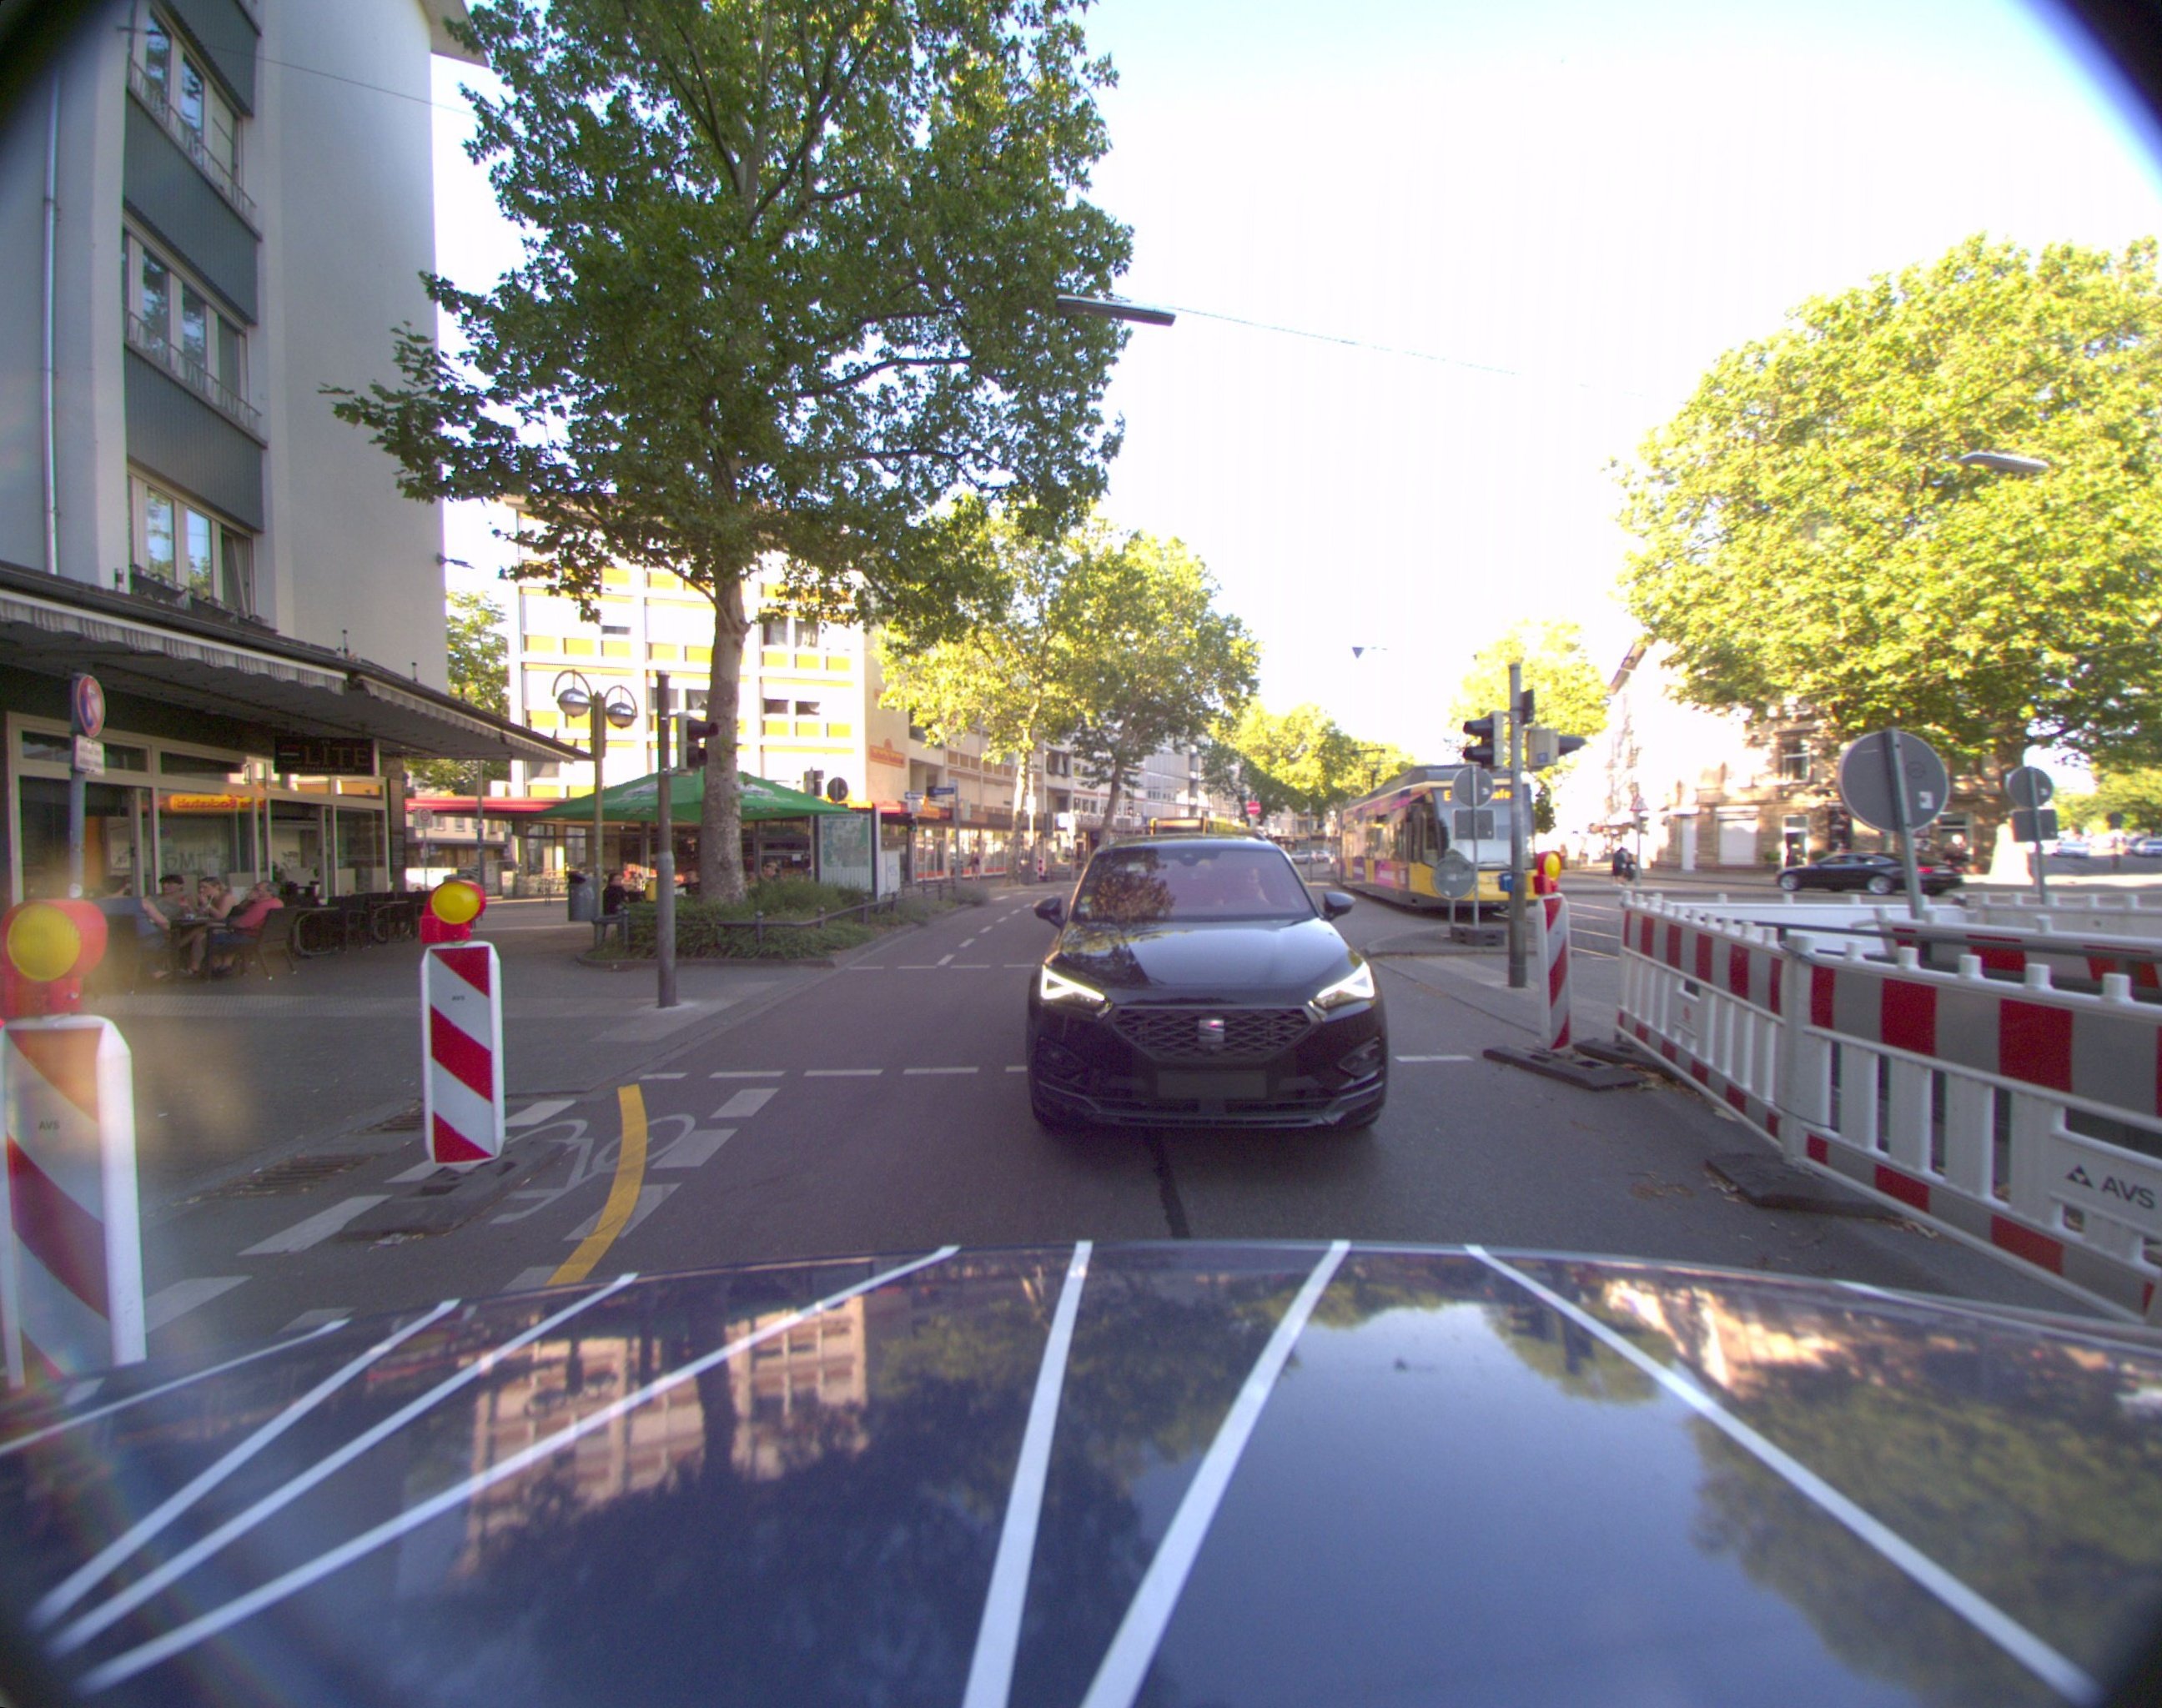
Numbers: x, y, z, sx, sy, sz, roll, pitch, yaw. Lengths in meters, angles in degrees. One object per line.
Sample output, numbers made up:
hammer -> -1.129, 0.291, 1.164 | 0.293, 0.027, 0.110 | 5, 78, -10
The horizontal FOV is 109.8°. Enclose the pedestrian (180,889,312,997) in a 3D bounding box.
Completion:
pedestrian -> -9.849, 1.023, 8.999 | 0.847, 1.191, 0.649 | 1, 0, -22

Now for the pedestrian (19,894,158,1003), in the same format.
pedestrian -> -11.089, 1.029, 8.523 | 0.718, 1.123, 0.649 | 1, 0, -24

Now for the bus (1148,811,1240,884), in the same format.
bus -> 5.762, -0.308, 37.128 | 2.749, 3.085, 9.509 | 0, 1, 19

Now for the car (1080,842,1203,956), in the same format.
car -> 1.087, 0.643, 13.196 | 1.743, 1.630, 4.300 | -2, 0, 6

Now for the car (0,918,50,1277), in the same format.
car -> -5.171, 0.997, 1.424 | 1.623, 1.457, 3.604 | 2, 0, -2

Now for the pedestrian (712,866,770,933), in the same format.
pedestrian -> -6.811, 0.896, 15.260 | 0.718, 1.278, 0.769 | 0, 1, 14

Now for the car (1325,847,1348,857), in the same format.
car -> 32.910, -0.259, 97.836 | 2.627, 1.274, 1.201 | -1, 2, 3

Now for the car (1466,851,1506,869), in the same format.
car -> 33.819, 0.522, 63.597 | 1.996, 1.440, 4.543 | 0, 0, 15

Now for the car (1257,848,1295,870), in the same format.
car -> 14.335, 0.345, 55.704 | 1.908, 1.467, 4.425 | 0, 1, 26

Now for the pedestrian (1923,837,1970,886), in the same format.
pedestrian -> 31.452, 0.267, 27.629 | 0.797, 1.746, 0.802 | -1, 1, 0

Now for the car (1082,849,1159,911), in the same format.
car -> 1.200, 0.632, 20.904 | 1.743, 1.492, 4.301 | -2, 0, 7

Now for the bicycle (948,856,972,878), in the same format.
bicycle -> -6.669, 0.711, 42.032 | 0.528, 1.136, 1.976 | 0, 1, 15

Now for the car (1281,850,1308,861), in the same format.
car -> 23.925, 0.188, 85.021 | 2.629, 1.209, 1.200 | -1, 2, -6

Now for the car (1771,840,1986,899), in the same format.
car -> 25.409, 0.435, 24.511 | 1.900, 1.657, 4.584 | -2, 1, -6

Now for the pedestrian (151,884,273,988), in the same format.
pedestrian -> -10.695, 0.989, 9.379 | 0.666, 1.211, 0.717 | 0, 0, -5

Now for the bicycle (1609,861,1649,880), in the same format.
bicycle -> 26.065, 0.759, 36.166 | 0.561, 0.857, 1.800 | -1, 1, -2

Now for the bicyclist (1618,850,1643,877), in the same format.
bicyclist -> 26.066, 0.433, 36.058 | 0.561, 1.287, 0.805 | -1, 1, -2

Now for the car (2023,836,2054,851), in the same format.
car -> 93.713, -1.039, 74.357 | 4.007, 1.485, 1.723 | -1, 1, -36

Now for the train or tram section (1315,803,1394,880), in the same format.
train or tram section -> 14.100, -0.629, 39.912 | 2.875, 3.467, 10.349 | -1, 1, 14

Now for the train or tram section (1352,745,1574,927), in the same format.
train or tram section -> 9.222, -0.388, 19.887 | 2.820, 3.467, 10.348 | -1, 1, 13

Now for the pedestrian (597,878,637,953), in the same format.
pedestrian -> -7.783, 1.017, 12.748 | 0.469, 1.212, 0.431 | -2, 1, -44

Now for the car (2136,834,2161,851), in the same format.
car -> 98.415, -1.061, 69.802 | 4.007, 1.485, 1.723 | -1, 1, -36

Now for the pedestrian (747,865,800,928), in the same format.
pedestrian -> -6.543, 0.893, 16.184 | 0.718, 1.278, 0.769 | -1, 1, 13

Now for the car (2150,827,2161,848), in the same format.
car -> 111.387, -1.738, 77.974 | 4.007, 2.131, 1.846 | -1, 1, -36

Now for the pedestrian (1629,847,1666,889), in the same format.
pedestrian -> 20.803, 0.497, 27.898 | 0.798, 1.500, 0.800 | -1, 1, -23

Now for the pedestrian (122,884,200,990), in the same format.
pedestrian -> -11.245, 0.989, 9.292 | 0.519, 1.236, 0.553 | 0, 0, 34

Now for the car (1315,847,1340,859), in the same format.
car -> 29.794, -0.114, 91.851 | 2.627, 1.464, 1.201 | -1, 2, 3

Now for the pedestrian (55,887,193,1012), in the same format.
pedestrian -> -10.222, 0.987, 8.148 | 0.651, 1.244, 0.716 | 1, 0, -24

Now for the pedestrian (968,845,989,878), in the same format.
pedestrian -> -5.340, 0.384, 39.637 | 0.748, 1.747, 0.903 | 0, 1, 17

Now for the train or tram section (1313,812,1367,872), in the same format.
train or tram section -> 16.768, -0.755, 49.724 | 2.839, 3.467, 10.350 | -1, 1, 16

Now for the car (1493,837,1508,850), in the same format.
car -> 73.263, -1.813, 132.670 | 2.162, 2.110, 4.987 | 1, 1, 29

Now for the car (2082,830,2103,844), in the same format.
car -> 155.359, -2.635, 116.648 | 4.007, 2.004, 1.846 | -1, 1, -36

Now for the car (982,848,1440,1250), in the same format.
car -> 0.682, 0.813, 5.310 | 1.848, 1.648, 4.300 | -2, 0, 4

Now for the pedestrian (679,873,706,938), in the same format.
pedestrian -> -7.413, 0.967, 14.483 | 0.433, 1.212, 0.467 | 1, 1, -29

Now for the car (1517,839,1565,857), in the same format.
car -> 52.553, -0.702, 86.778 | 4.651, 1.965, 1.901 | -1, 1, -11

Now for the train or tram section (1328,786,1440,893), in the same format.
train or tram section -> 11.540, -0.517, 29.946 | 2.839, 3.467, 10.349 | -1, 1, 15

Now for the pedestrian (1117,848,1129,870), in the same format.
pedestrian -> 3.289, 0.377, 59.163 | 0.748, 1.747, 0.903 | 0, 1, 17

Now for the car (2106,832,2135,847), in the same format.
car -> 108.649, -1.494, 79.393 | 4.007, 1.485, 1.723 | -1, 1, -36

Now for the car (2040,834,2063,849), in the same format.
car -> 134.539, -1.778, 105.323 | 4.007, 2.004, 1.846 | -1, 1, -36

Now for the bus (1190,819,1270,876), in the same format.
bus -> 9.239, -0.423, 46.002 | 2.748, 3.085, 9.512 | 0, 1, 23

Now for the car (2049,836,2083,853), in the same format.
car -> 91.016, -0.897, 70.196 | 4.007, 1.485, 1.723 | -1, 1, -36

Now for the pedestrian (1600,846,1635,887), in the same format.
pedestrian -> 20.143, 0.468, 28.509 | 0.799, 1.500, 0.800 | -1, 1, -28
